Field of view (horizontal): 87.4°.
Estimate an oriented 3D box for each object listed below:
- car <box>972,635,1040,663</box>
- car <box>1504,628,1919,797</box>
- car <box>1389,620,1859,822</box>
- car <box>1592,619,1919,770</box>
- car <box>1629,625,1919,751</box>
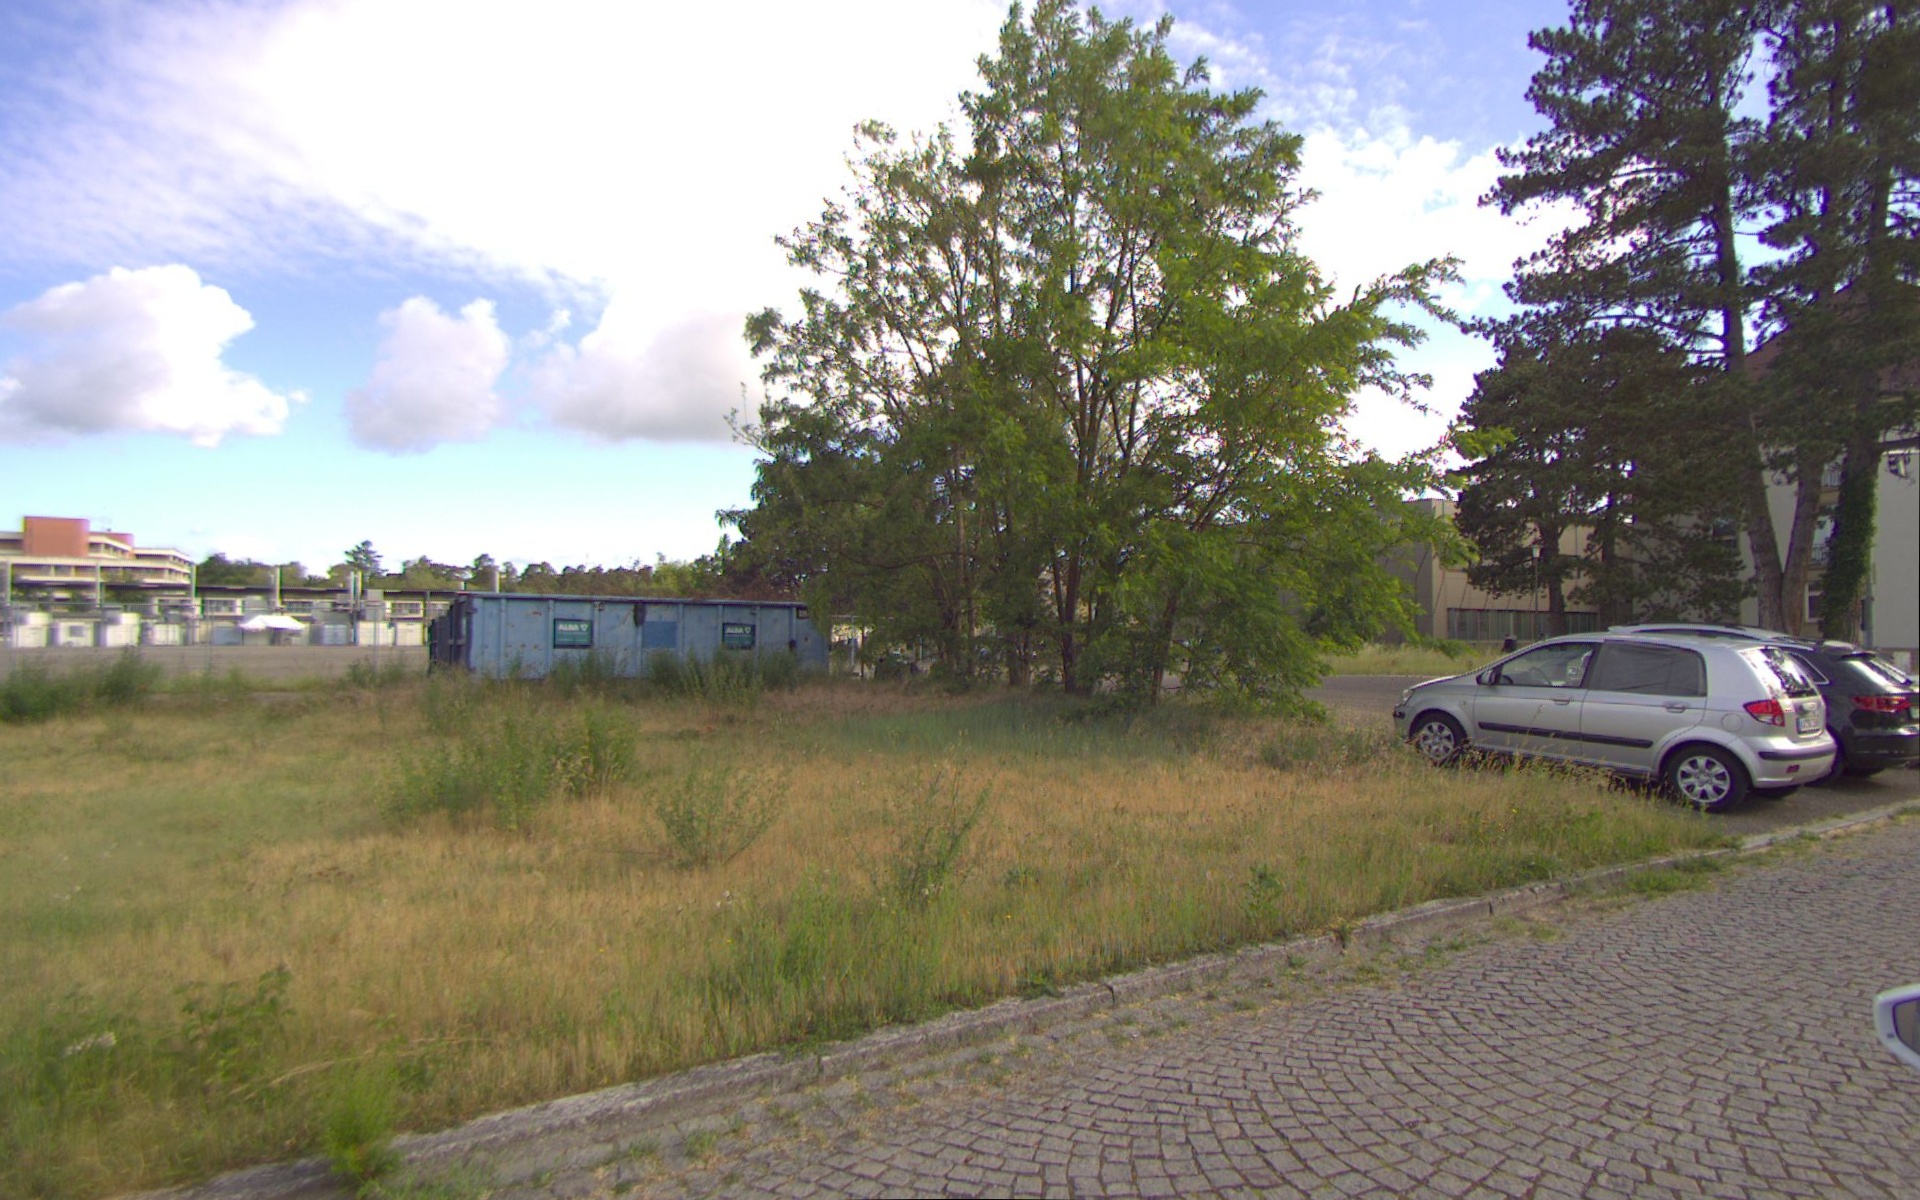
[{"bbox_3d":[2.331,2.493,51.694,1.576,1.354,3.706,2,-2,-36],"label":"car"},{"bbox_3d":[8.582,1.115,11.489,1.676,1.427,3.815,1,0,-31],"label":"car"},{"bbox_3d":[6.394,1.028,10.045,1.630,1.495,3.555,2,0,-33],"label":"car"},{"bbox_3d":[10.868,1.129,13.335,1.717,1.628,3.808,1,0,-33],"label":"car"},{"bbox_3d":[12.730,1.232,14.763,1.811,1.461,4.449,1,1,-34],"label":"car"}]
